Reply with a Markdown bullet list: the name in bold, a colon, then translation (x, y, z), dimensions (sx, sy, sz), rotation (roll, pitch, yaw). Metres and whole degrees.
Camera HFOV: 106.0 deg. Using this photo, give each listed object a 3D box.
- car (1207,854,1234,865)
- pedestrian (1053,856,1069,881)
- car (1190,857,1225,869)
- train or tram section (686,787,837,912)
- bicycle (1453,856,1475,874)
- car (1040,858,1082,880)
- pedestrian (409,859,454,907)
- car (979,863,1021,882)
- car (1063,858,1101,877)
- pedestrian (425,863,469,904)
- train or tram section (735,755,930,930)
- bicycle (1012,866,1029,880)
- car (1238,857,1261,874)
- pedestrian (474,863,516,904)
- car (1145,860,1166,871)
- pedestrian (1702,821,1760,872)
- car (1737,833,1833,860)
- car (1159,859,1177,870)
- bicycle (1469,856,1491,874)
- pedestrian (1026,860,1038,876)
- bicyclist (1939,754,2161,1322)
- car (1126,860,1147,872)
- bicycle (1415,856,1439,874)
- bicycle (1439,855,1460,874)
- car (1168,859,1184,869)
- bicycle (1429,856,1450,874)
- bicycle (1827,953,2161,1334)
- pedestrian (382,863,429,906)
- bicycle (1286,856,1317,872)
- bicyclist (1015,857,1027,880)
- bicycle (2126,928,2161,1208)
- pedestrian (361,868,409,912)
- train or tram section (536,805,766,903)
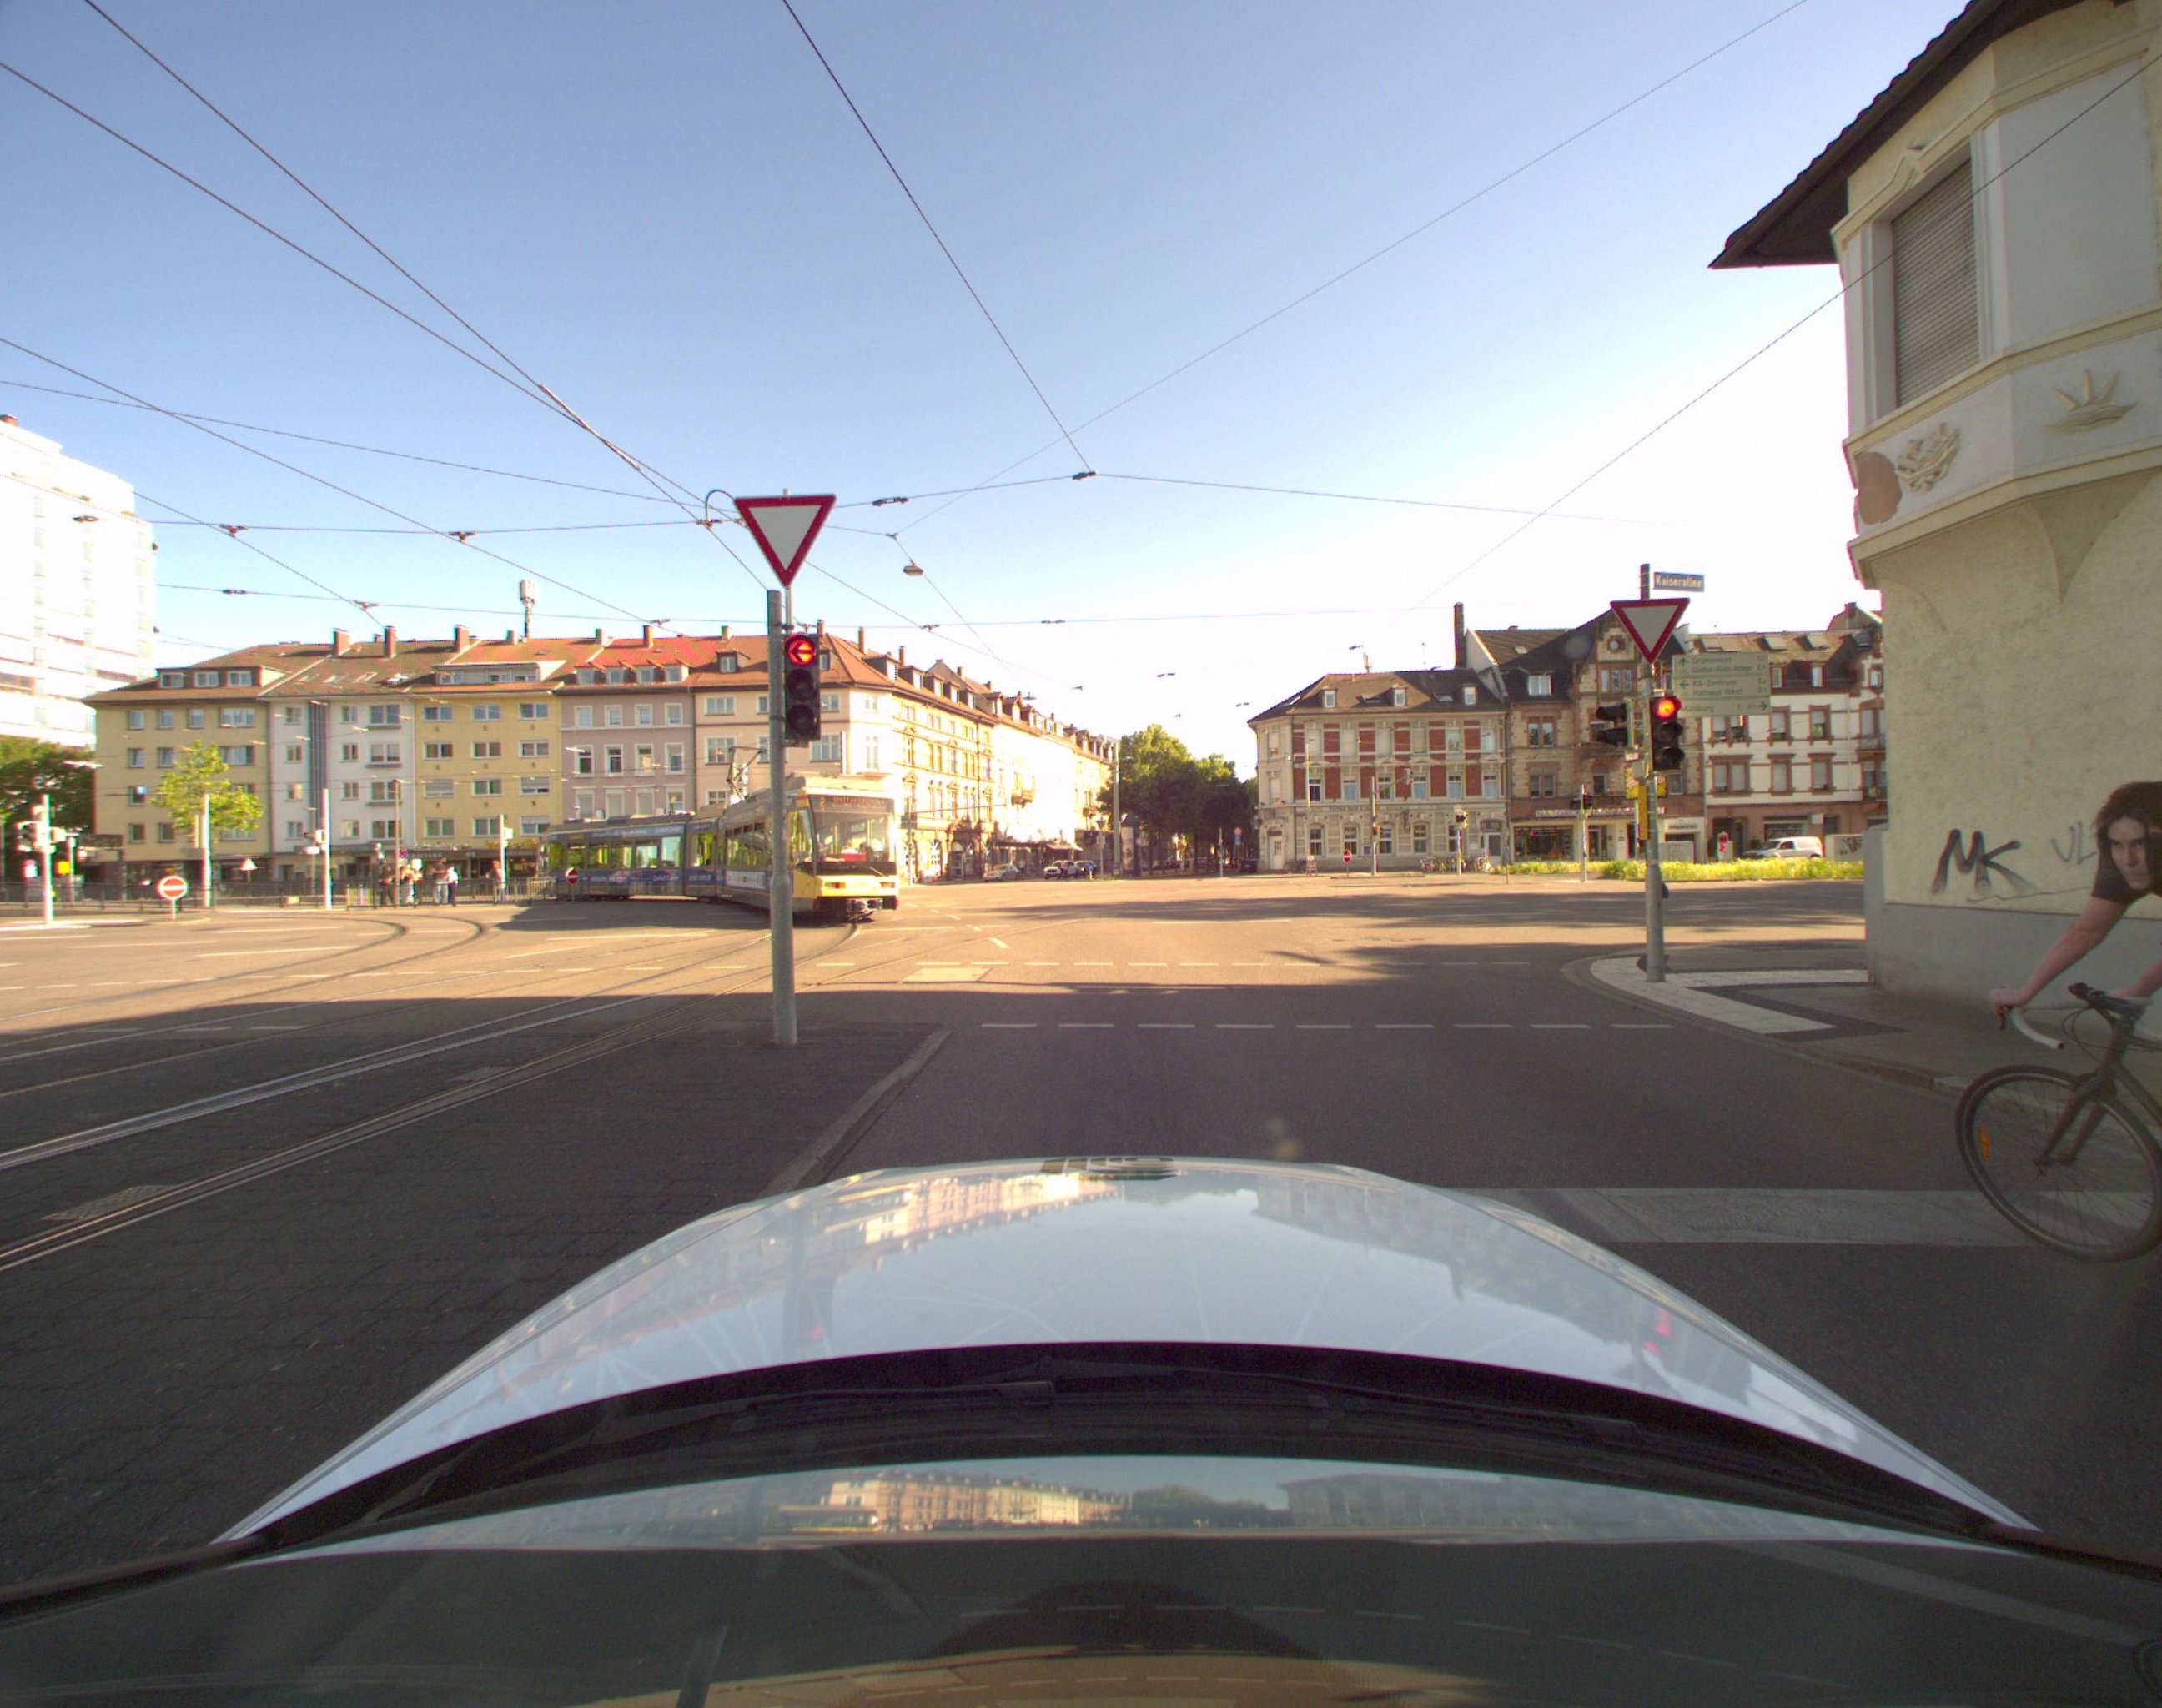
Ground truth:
- **car**: translation (22.824, 0.969, 133.315), dimensions (3.948, 1.706, 2.013), rotation (-2, 0, 32)
- **pedestrian**: translation (-1.441, 0.995, 58.068), dimensions (1.044, 1.744, 0.807), rotation (-1, 0, -5)
- **car**: translation (17.872, 1.311, 115.077), dimensions (4.335, 1.612, 2.012), rotation (-2, 0, 28)
- **train or tram section**: translation (-10.871, -0.112, 27.097), dimensions (2.835, 3.500, 8.371), rotation (-1, 0, -34)
- **bicycle**: translation (24.781, 0.713, 52.702), dimensions (0.615, 1.143, 2.178), rotation (-2, 0, 7)
- **car**: translation (-1.607, 1.252, 67.548), dimensions (1.977, 1.684, 4.413), rotation (-2, 0, 20)
- **pedestrian**: translation (-24.847, 1.084, 31.184), dimensions (0.939, 1.775, 1.006), rotation (-1, 0, -11)
- **car**: translation (-6.682, 1.522, 67.390), dimensions (1.883, 1.455, 4.020), rotation (-2, 0, 20)
- **car**: translation (0.117, 1.218, 74.025), dimensions (1.977, 1.612, 4.413), rotation (-2, 0, 20)
- **pedestrian**: translation (-25.299, 1.183, 32.522), dimensions (0.998, 1.598, 0.946), rotation (-2, 0, 18)
- **train or tram section**: translation (-6.538, -0.218, 20.379), dimensions (2.833, 3.500, 7.884), rotation (-1, 0, -31)
- **bicycle**: translation (-4.816, 1.513, 65.304), dimensions (0.675, 1.066, 2.133), rotation (-2, 0, 14)
- **car**: translation (17.014, 1.141, 82.228), dimensions (1.978, 1.585, 4.017), rotation (-2, 0, 16)
- **pedestrian**: translation (-23.235, 1.166, 32.311), dimensions (0.997, 1.598, 0.947), rotation (-2, 0, 23)
- **car**: translation (11.249, 1.730, 122.611), dimensions (1.977, 1.612, 4.413), rotation (-2, 0, 20)
- **pedestrian**: translation (27.118, -0.303, 34.013), dimensions (1.314, 2.044, 1.307), rotation (-2, 0, 1)
- **car**: translation (45.361, -0.477, 52.570), dimensions (4.317, 1.640, 2.152), rotation (-2, 0, 1)
- **car**: translation (13.906, 1.699, 130.343), dimensions (1.822, 1.552, 4.412), rotation (-2, 0, 19)
- **bicycle**: translation (25.758, 0.692, 52.612), dimensions (0.606, 1.136, 2.139), rotation (-2, 0, 7)
- **pedestrian**: translation (-4.951, 1.422, 82.526), dimensions (0.921, 1.535, 1.142), rotation (-1, 0, 16)
- **bicyclist**: translation (3.608, 0.565, 2.603), dimensions (0.559, 1.754, 1.102), rotation (-2, 0, 4)
- **car**: translation (7.529, 1.667, 110.991), dimensions (1.978, 1.486, 4.017), rotation (-1, 0, 16)
- **bicycle**: translation (22.503, 0.703, 52.999), dimensions (0.802, 1.143, 2.178), rotation (-2, 0, 7)
- **bicycle**: translation (23.860, 0.675, 52.797), dimensions (0.615, 1.143, 2.178), rotation (-2, 0, 7)
- **car**: translation (15.823, 1.719, 136.178), dimensions (1.750, 1.549, 4.411), rotation (-2, 0, 18)
- **bicycle**: translation (23.281, 0.694, 52.850), dimensions (0.615, 1.143, 2.178), rotation (-2, 0, 7)
- **bicycle**: translation (3.623, 0.952, 2.680), dimensions (0.642, 1.010, 1.930), rotation (-2, 0, 4)
- **pedestrian**: translation (-26.347, 1.180, 31.771), dimensions (0.934, 1.598, 1.011), rotation (-2, 0, 4)
- **bicycle**: translation (15.502, 0.725, 57.201), dimensions (2.081, 1.124, 0.366), rotation (0, -1, -3)
- **bicyclist**: translation (-4.812, 1.132, 65.347), dimensions (0.674, 1.820, 1.075), rotation (-2, 0, 14)
- **bicycle**: translation (4.543, 0.862, 2.455), dimensions (0.516, 1.116, 1.815), rotation (-2, 0, 4)
- **pedestrian**: translation (-26.429, 1.359, 30.942), dimensions (0.932, 1.598, 1.013), rotation (-1, 0, 13)
- **train or tram section**: translation (-17.881, 0.098, 33.323), dimensions (11.874, 3.500, 2.797), rotation (-1, 0, 33)
